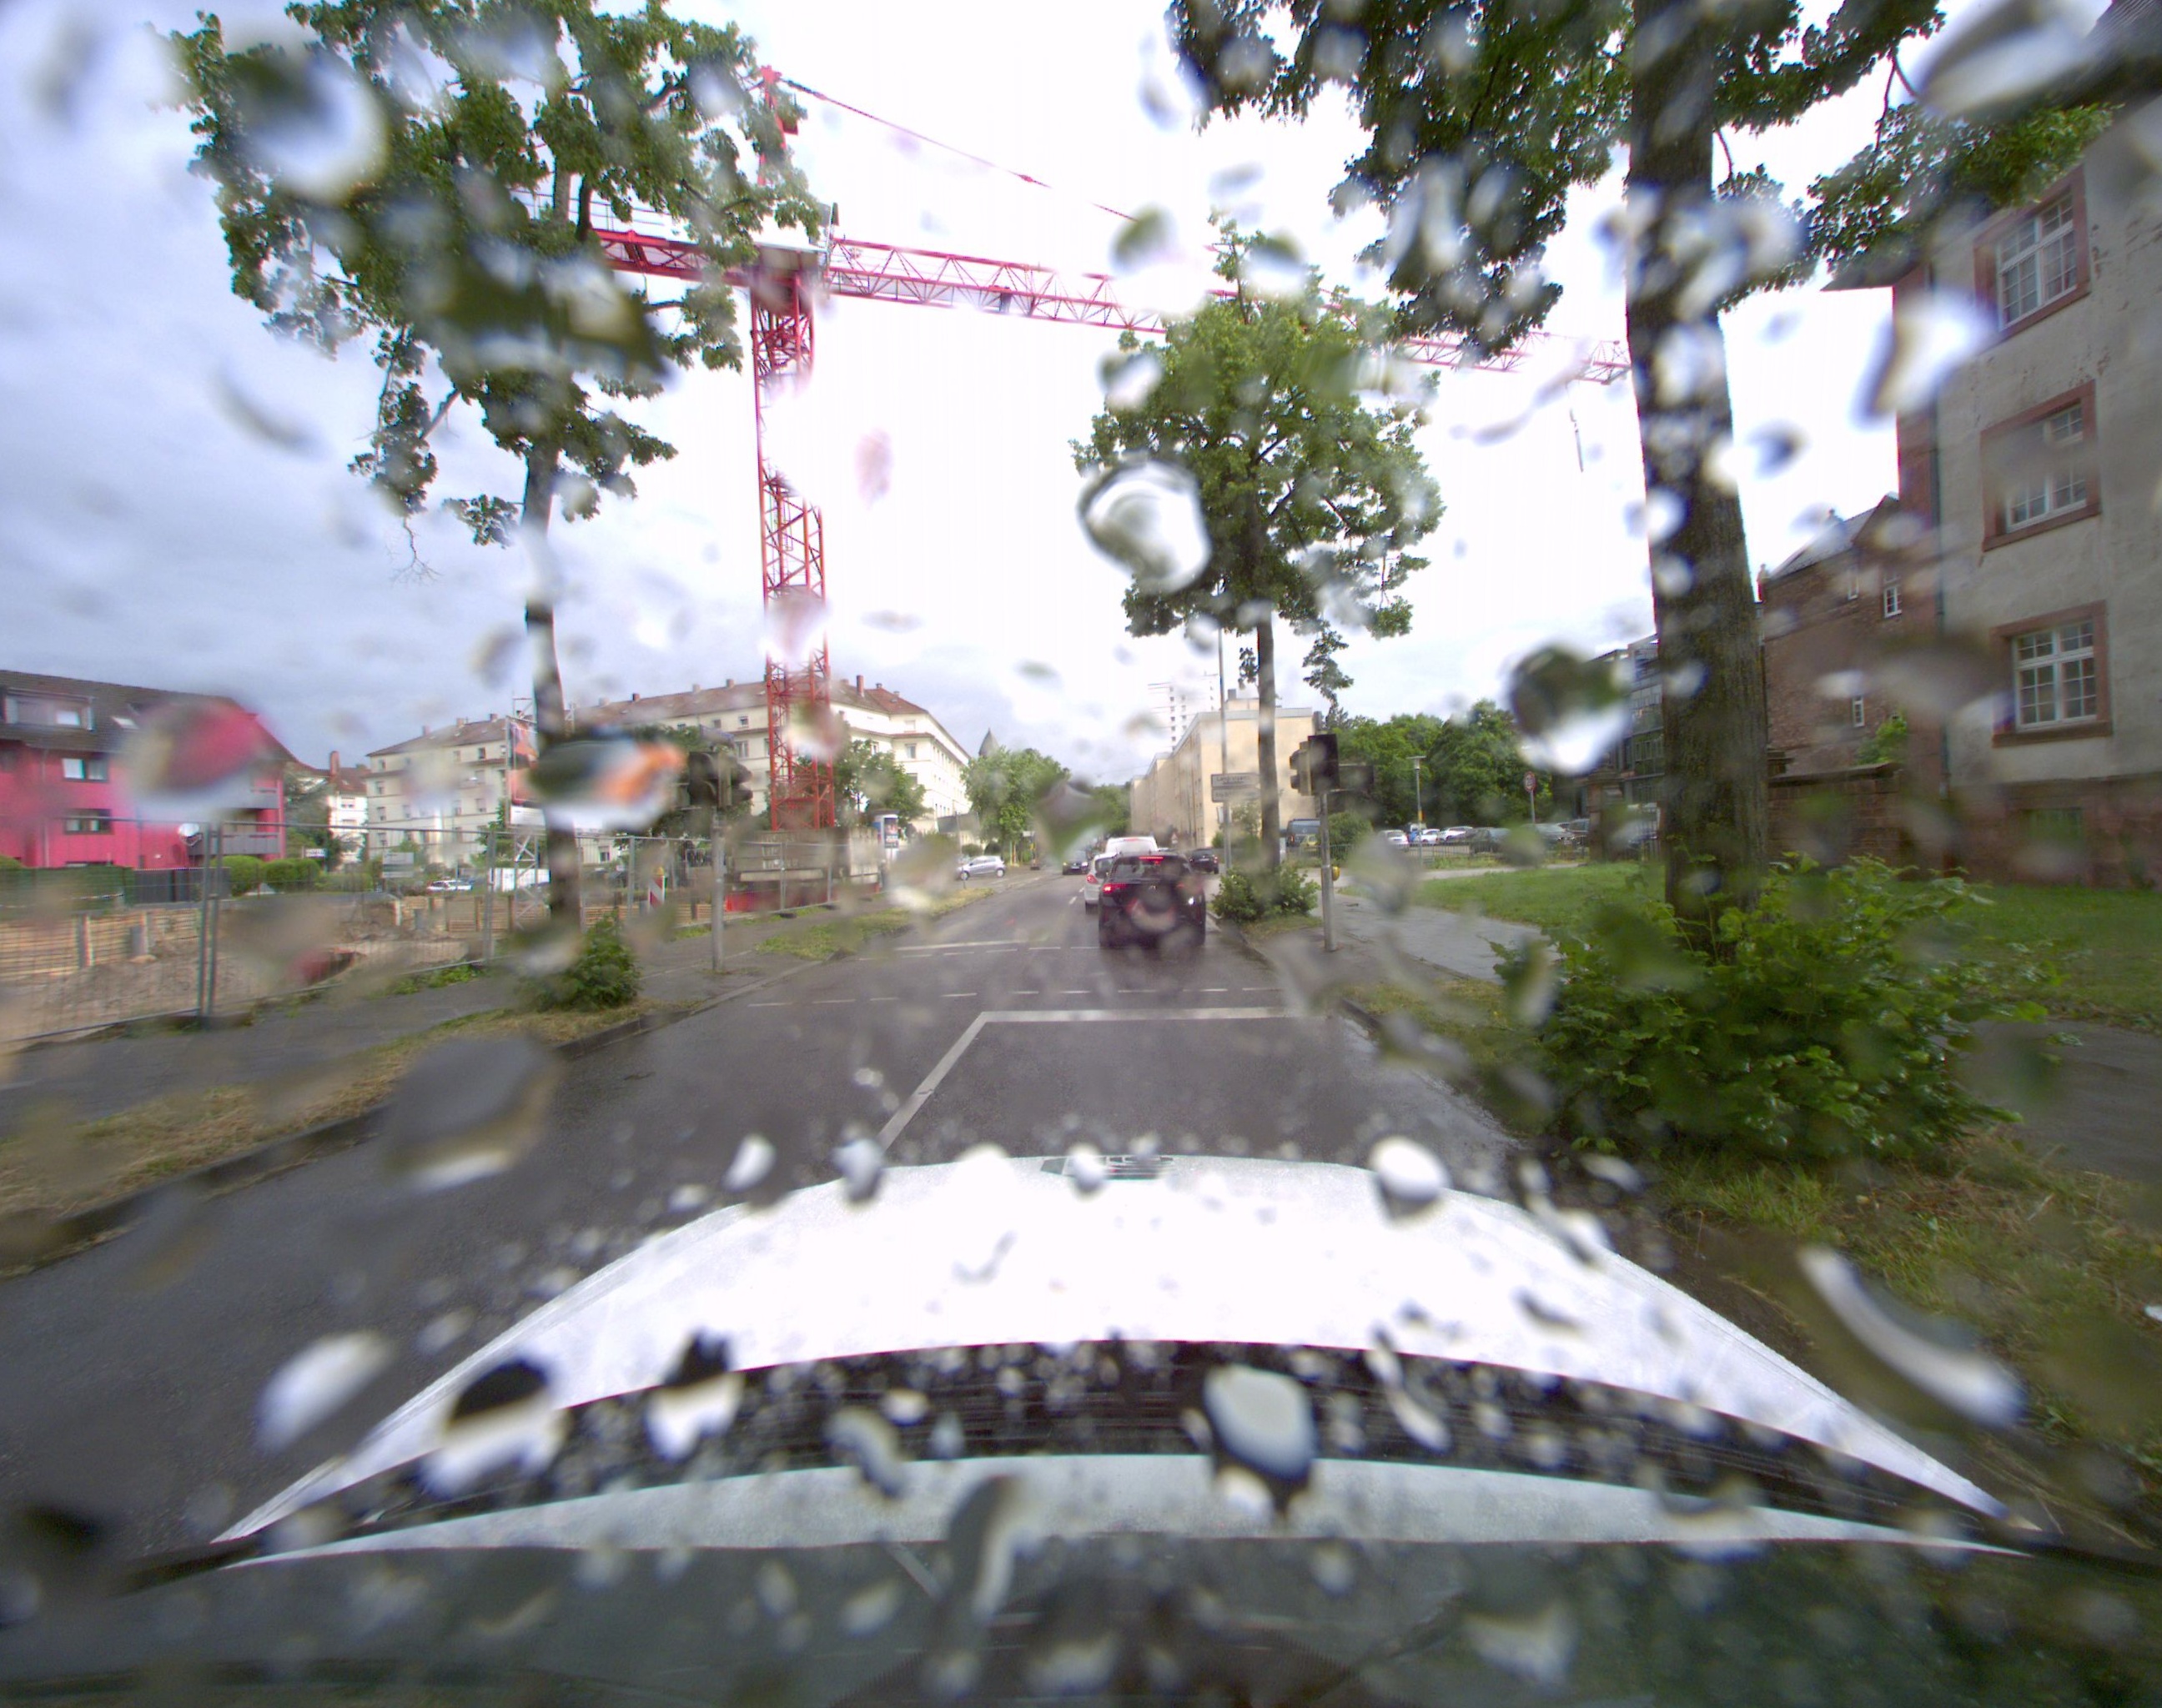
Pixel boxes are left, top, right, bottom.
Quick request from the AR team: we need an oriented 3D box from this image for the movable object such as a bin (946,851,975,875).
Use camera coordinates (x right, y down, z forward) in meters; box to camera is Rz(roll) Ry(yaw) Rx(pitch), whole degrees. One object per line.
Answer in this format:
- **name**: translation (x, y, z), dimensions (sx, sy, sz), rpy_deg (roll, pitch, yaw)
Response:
- **movable object such as a bin**: translation (-9.049, 0.690, 61.015), dimensions (1.524, 1.662, 1.466), rpy_deg (-3, 1, 21)

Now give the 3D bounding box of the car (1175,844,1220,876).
- **car**: translation (6.344, 0.282, 44.674), dimensions (1.768, 1.539, 4.379), rpy_deg (-5, 0, 1)

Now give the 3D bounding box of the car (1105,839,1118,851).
- **car**: translation (4.658, -1.349, 124.088), dimensions (1.833, 1.608, 3.679), rpy_deg (-4, 0, 3)

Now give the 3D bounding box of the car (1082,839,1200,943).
- **car**: translation (1.047, 0.607, 15.086), dimensions (1.866, 1.645, 4.064), rpy_deg (-1, 0, 2)

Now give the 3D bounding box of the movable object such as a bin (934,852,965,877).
- **movable object such as a bin**: translation (-9.615, 0.770, 59.514), dimensions (1.524, 1.674, 1.675), rpy_deg (-3, 1, 21)

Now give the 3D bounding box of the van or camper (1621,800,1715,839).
- **van or camper**: translation (40.049, -2.312, 55.679), dimensions (4.768, 2.486, 2.259), rpy_deg (-1, -1, 1)

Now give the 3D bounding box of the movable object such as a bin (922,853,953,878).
- **movable object such as a bin**: translation (-10.213, 0.829, 57.968), dimensions (1.524, 1.656, 1.536), rpy_deg (-3, 1, 21)

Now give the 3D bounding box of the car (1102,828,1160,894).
- **car**: translation (1.738, 0.238, 28.093), dimensions (1.828, 2.103, 4.004), rpy_deg (-1, -1, 4)

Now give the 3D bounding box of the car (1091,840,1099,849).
- **car**: translation (3.307, -2.156, 187.206), dimensions (1.660, 1.837, 4.000), rpy_deg (-3, 0, 0)

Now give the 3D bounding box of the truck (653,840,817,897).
- **truck**: translation (-23.056, 0.931, 54.335), dimensions (9.735, 3.184, 3.809), rpy_deg (-3, 0, 17)

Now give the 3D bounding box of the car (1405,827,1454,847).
- **car**: translation (30.567, -1.478, 71.505), dimensions (3.649, 1.486, 1.642), rpy_deg (-3, 0, 5)

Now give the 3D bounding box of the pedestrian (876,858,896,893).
- **pedestrian**: translation (-9.219, 1.030, 38.498), dimensions (0.727, 1.629, 0.677), rpy_deg (0, -1, -35)

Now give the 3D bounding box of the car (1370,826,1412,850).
- **car**: translation (21.027, -1.064, 55.406), dimensions (1.641, 1.486, 3.724), rpy_deg (-3, 0, 5)

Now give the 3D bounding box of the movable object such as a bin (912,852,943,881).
- **movable object such as a bin**: translation (-10.629, 0.855, 56.438), dimensions (1.524, 1.824, 1.270), rpy_deg (-3, 1, 21)

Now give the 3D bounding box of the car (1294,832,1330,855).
- **car**: translation (15.857, -0.724, 55.965), dimensions (1.604, 1.448, 3.420), rpy_deg (-3, 0, 3)

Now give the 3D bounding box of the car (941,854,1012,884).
- **car**: translation (-6.716, 0.973, 52.296), dimensions (4.012, 1.637, 1.877), rpy_deg (-3, -1, -30)

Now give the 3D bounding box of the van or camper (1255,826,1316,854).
- **van or camper**: translation (17.506, -1.183, 69.944), dimensions (4.736, 2.131, 2.325), rpy_deg (-3, 1, 5)

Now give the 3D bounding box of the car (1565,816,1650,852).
- **car**: translation (27.695, -1.017, 43.026), dimensions (1.845, 1.679, 4.429), rpy_deg (-3, 0, 4)

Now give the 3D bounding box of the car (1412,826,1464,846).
- **car**: translation (30.419, -1.513, 69.433), dimensions (3.649, 1.486, 1.642), rpy_deg (-3, 0, 5)

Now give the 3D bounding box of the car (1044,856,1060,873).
- **car**: translation (-3.040, 1.077, 84.928), dimensions (1.582, 1.505, 4.061), rpy_deg (-4, 0, -2)

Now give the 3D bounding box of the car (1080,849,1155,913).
- **car**: translation (0.966, 0.666, 21.661), dimensions (1.806, 1.503, 4.002), rpy_deg (-1, -1, 2)

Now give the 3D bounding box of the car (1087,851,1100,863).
- **car**: translation (1.867, 0.450, 125.058), dimensions (1.733, 1.608, 3.679), rpy_deg (-4, 0, 3)

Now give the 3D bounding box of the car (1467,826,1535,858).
- **car**: translation (22.736, -0.639, 44.243), dimensions (1.819, 1.527, 4.432), rpy_deg (-3, 0, 7)

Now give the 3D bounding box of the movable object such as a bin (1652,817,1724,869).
- **movable object such as a bin**: translation (18.483, -0.340, 24.832), dimensions (1.101, 1.457, 1.392), rpy_deg (-4, 0, 3)

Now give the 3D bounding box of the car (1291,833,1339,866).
- **car**: translation (13.548, -0.256, 47.338), dimensions (1.795, 1.749, 4.244), rpy_deg (-3, 0, 5)

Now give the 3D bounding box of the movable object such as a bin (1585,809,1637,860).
- **movable object such as a bin**: translation (16.075, -0.584, 24.723), dimensions (0.796, 1.457, 1.098), rpy_deg (-4, 0, 3)

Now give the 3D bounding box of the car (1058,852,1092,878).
- **car**: translation (-0.360, 0.660, 51.850), dimensions (1.805, 1.540, 3.986), rpy_deg (-2, -1, 4)

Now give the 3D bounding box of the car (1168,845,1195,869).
- **car**: translation (6.914, 0.233, 56.173), dimensions (1.748, 1.528, 4.006), rpy_deg (1, -2, 6)

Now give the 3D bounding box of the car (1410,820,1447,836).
- **car**: translation (36.344, -2.706, 85.182), dimensions (3.209, 1.397, 1.511), rpy_deg (-3, 0, 5)

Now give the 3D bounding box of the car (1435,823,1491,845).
- **car**: translation (30.036, -1.533, 64.092), dimensions (3.649, 1.486, 1.642), rpy_deg (-3, 0, 5)

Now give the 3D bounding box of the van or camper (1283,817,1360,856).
- **van or camper**: translation (17.571, -1.276, 59.725), dimensions (4.977, 2.554, 2.177), rpy_deg (-2, -1, 3)

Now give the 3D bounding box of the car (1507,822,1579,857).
- **car**: translation (24.840, -0.776, 43.979), dimensions (1.843, 1.679, 4.433), rpy_deg (-3, 0, 8)
